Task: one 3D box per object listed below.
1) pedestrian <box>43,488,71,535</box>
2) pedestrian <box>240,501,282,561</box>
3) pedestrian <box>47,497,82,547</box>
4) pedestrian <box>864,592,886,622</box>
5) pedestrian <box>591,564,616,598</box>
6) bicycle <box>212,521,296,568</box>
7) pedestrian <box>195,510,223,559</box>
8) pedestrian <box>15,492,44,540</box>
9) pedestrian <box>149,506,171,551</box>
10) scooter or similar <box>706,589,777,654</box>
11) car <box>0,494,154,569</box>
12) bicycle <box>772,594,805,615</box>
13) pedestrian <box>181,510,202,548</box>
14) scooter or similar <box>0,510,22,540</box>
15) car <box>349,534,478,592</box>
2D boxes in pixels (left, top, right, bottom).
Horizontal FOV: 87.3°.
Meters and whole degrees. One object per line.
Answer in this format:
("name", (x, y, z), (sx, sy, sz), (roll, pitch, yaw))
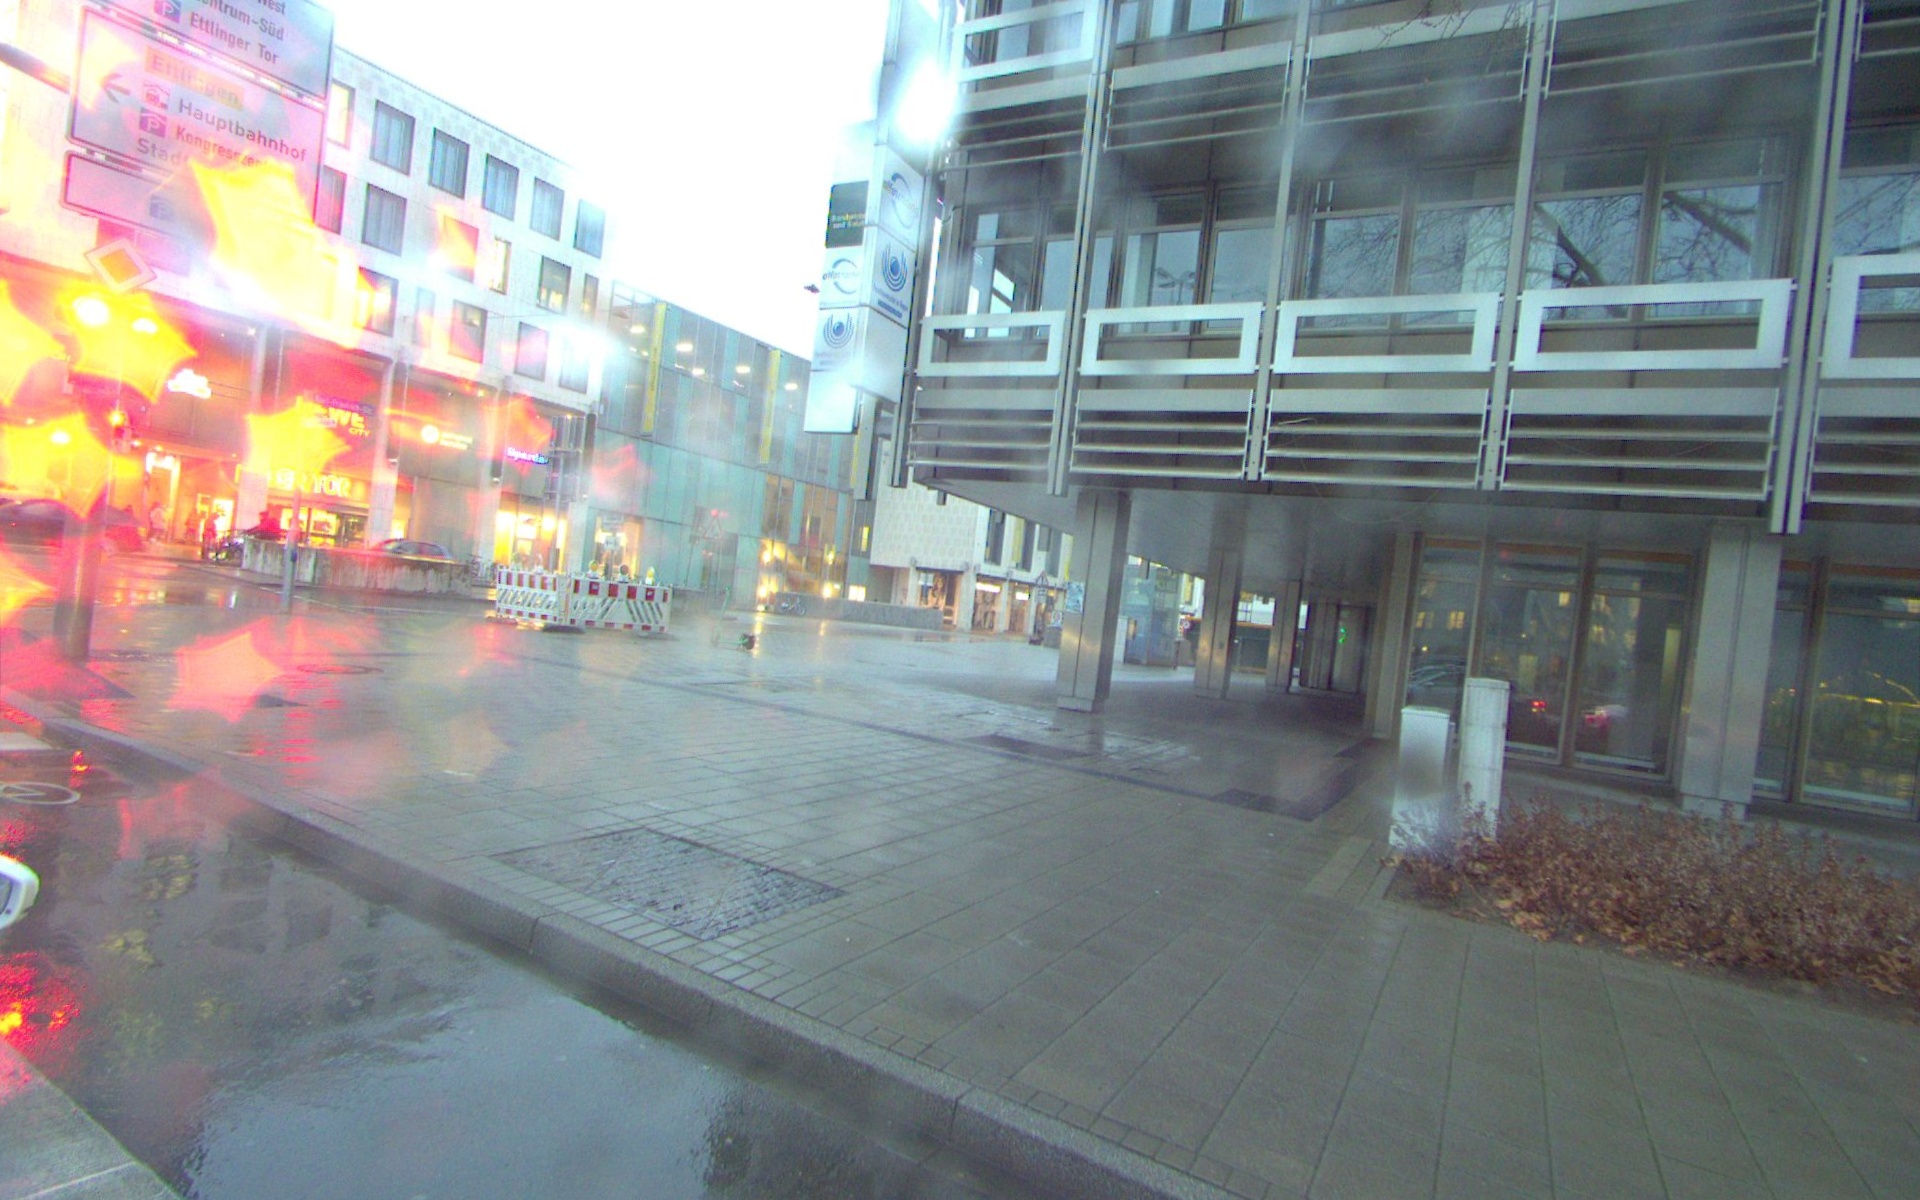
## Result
("pedestrian", (-35.124, -3.427, 39.128), (0.529, 1.739, 0.500), (6, 1, -21))
("pedestrian", (-20.152, -1.985, 29.007), (0.778, 1.615, 0.605), (6, 1, -43))
("pedestrian", (-34.213, -2.972, 38.427), (0.656, 1.782, 0.703), (7, 1, 31))
("pedestrian", (-6.297, 0.510, 74.540), (1.006, 2.037, 0.906), (6, -1, 31))
("pedestrian", (-18.342, -0.971, 51.760), (0.697, 1.650, 0.795), (6, -1, 31))
("bicycle", (-20.299, -1.577, 28.931), (1.839, 1.107, 0.610), (7, 0, -44))
("pedestrian", (-27.043, -2.350, 36.230), (0.529, 1.706, 0.546), (6, 1, -21))
("pedestrian", (-35.720, -3.205, 38.623), (0.529, 1.739, 0.500), (6, 1, -21))
("pedestrian", (-33.136, -2.962, 41.669), (0.368, 1.782, 0.512), (7, 1, 31))
("scooter or similar", (-4.397, 0.433, 20.255), (1.215, 1.144, 0.606), (7, 0, 32))
("car", (-25.305, -1.972, 27.699), (1.772, 1.593, 4.530), (7, -1, 41))
("bicycle", (-10.532, 0.251, 61.739), (2.101, 1.046, 0.616), (6, 0, 33))
("pedestrian", (-36.316, -3.350, 47.550), (0.529, 1.739, 0.500), (6, 1, -21))
("scooter or similar", (-34.395, -2.705, 36.254), (0.394, 1.005, 0.742), (7, 0, 32))
("car", (-19.224, -1.278, 35.533), (1.648, 1.601, 3.575), (6, -1, 29))
